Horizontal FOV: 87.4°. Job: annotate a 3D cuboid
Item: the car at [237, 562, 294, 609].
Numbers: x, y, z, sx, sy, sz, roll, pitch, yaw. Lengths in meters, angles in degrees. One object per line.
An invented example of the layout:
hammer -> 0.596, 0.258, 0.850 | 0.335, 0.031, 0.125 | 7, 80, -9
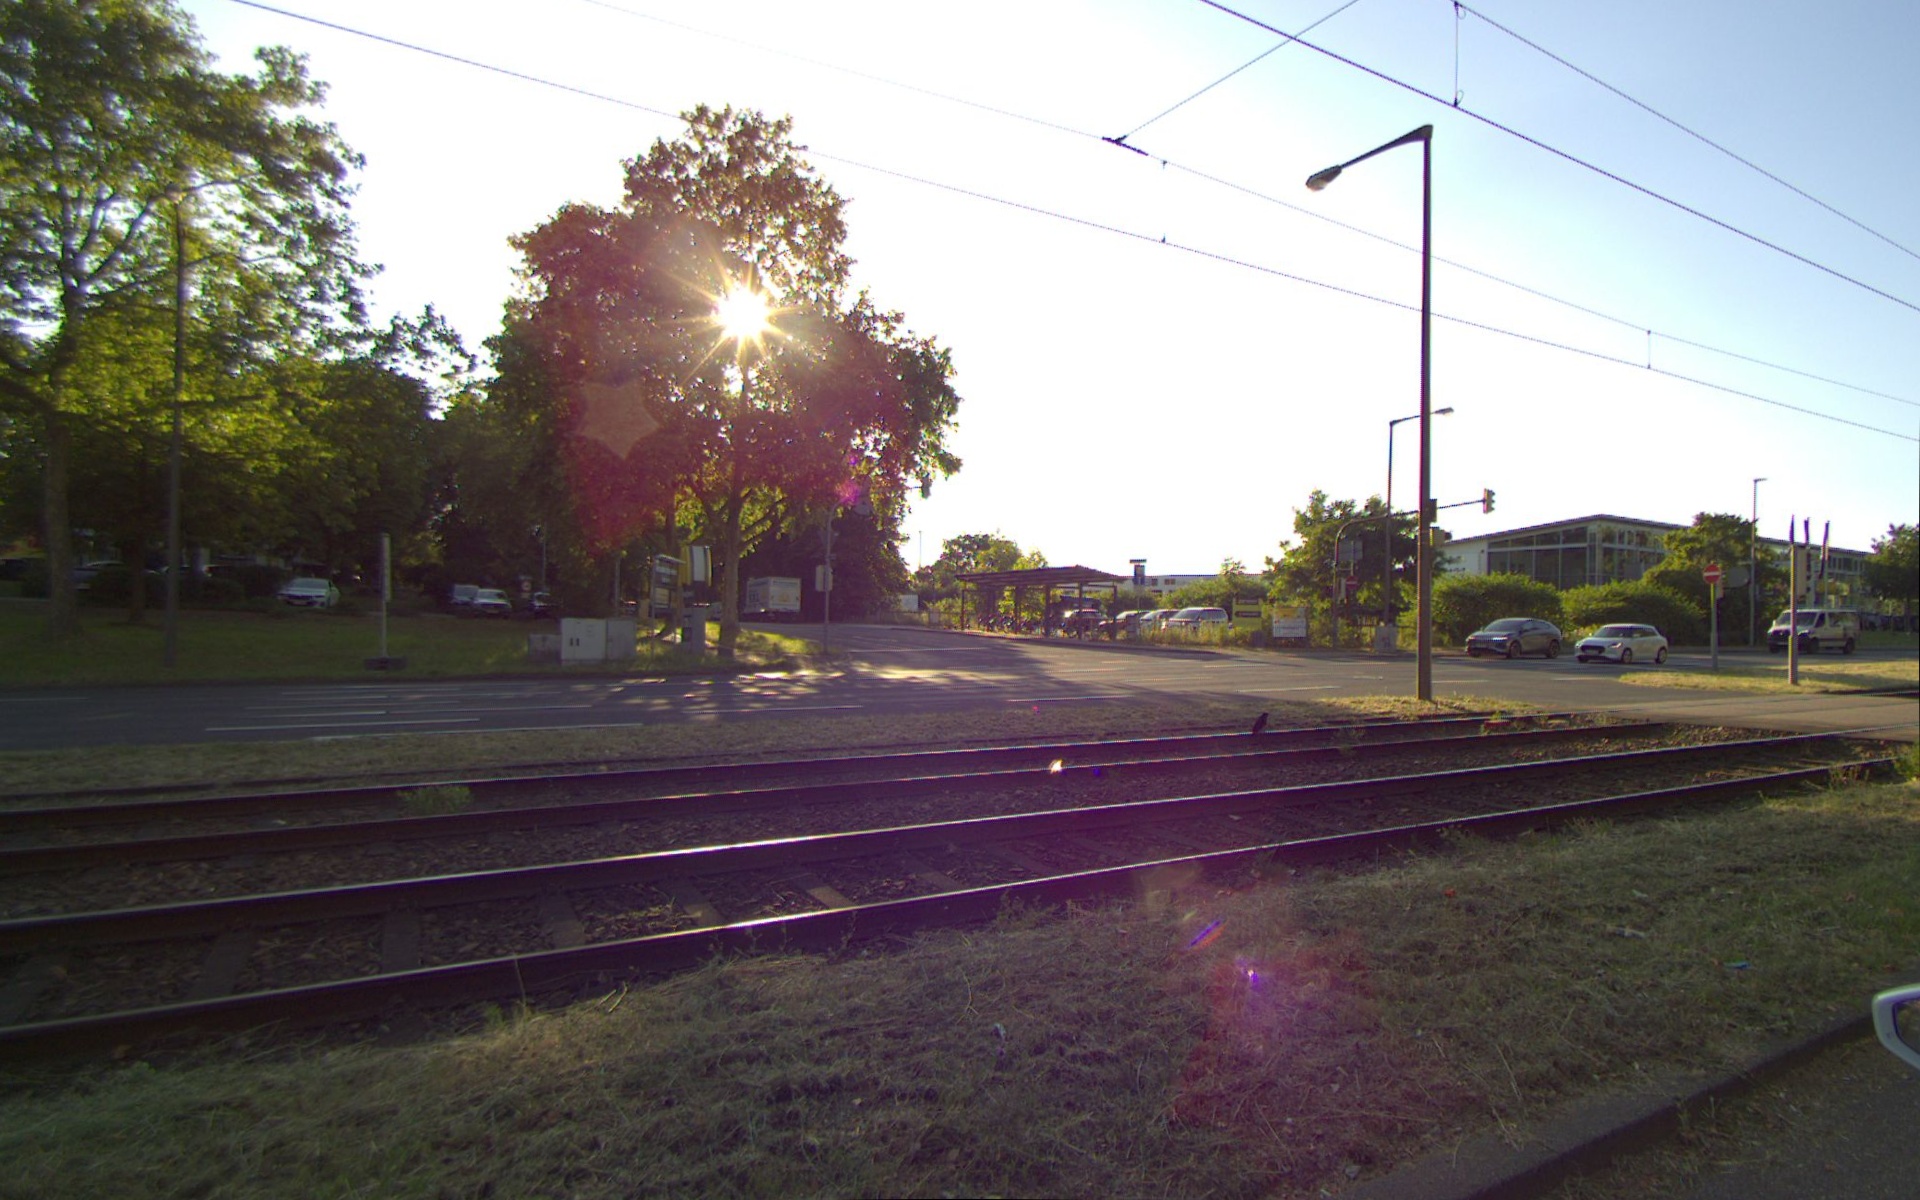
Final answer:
car -> -37.296, -0.751, 54.006 | 2.138, 2.334, 4.369 | 2, 0, -31

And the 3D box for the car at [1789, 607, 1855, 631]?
car -> 69.327, 1.504, 80.824 | 3.940, 1.840, 1.735 | 1, 0, 40

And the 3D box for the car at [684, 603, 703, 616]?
car -> -33.311, 1.171, 125.409 | 1.887, 1.602, 4.036 | 2, 0, -21

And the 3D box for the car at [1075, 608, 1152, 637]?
car -> 8.821, 1.280, 57.797 | 4.123, 1.604, 1.853 | 1, 0, -30

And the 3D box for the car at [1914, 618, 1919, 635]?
car -> 91.300, 2.498, 93.017 | 1.725, 1.642, 3.962 | 1, 0, -34

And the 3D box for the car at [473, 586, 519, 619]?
car -> -22.934, 0.110, 49.587 | 1.916, 1.530, 4.071 | 2, 0, -26

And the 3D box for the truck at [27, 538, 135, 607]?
truck -> -44.512, -1.341, 51.064 | 2.468, 3.209, 6.187 | 2, 0, -26

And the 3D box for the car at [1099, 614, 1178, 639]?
car -> 9.940, 1.483, 55.865 | 4.123, 1.284, 1.853 | 1, 0, -30

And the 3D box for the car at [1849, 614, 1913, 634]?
car -> 79.616, 2.061, 86.888 | 3.940, 1.577, 1.735 | 1, 0, 40

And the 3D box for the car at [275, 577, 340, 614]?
car -> -29.432, -0.220, 45.437 | 1.916, 1.530, 4.071 | 2, 0, -26

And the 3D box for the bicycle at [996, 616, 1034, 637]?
bicycle -> 3.070, 1.471, 56.410 | 2.004, 1.119, 0.777 | 2, 0, -30

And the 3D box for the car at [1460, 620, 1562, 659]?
car -> 23.211, 1.635, 42.324 | 4.120, 1.501, 1.854 | 1, 0, -29

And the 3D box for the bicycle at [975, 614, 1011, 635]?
bicycle -> 1.929, 1.448, 59.047 | 2.004, 1.119, 0.777 | 2, 0, -30

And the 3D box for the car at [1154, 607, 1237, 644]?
car -> 12.363, 1.323, 52.733 | 4.123, 1.846, 1.853 | 1, 0, -30

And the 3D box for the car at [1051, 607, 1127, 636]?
car -> 7.717, 1.287, 59.991 | 4.123, 1.604, 1.968 | 1, 0, -30

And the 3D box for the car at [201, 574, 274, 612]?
car -> -32.113, -0.320, 44.755 | 1.916, 1.530, 4.071 | 2, 0, -26

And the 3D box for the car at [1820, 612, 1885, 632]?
car -> 74.210, 1.839, 83.607 | 3.940, 1.577, 1.735 | 1, 0, 40

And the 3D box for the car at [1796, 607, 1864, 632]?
car -> 68.365, 1.487, 78.979 | 3.940, 1.840, 1.735 | 1, 0, 40

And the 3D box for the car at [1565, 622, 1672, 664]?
car -> 25.529, 1.623, 38.934 | 4.043, 1.501, 1.853 | 1, 0, -30

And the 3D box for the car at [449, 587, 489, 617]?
car -> -28.572, 0.126, 58.493 | 1.836, 1.637, 4.036 | 2, 0, -23

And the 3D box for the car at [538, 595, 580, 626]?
car -> -20.439, 0.522, 51.136 | 1.604, 1.477, 3.878 | 2, 0, -27

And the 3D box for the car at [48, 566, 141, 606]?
car -> -36.087, -0.555, 42.019 | 1.916, 1.530, 4.071 | 2, 0, -26

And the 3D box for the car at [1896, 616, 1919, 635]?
car -> 88.384, 2.382, 91.738 | 1.725, 1.642, 3.962 | 1, 0, -34

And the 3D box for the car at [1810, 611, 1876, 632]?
car -> 71.991, 1.743, 81.940 | 3.940, 1.577, 1.735 | 1, 0, 40

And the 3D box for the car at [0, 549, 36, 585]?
car -> -53.859, -1.881, 56.381 | 2.274, 1.875, 5.220 | 2, 0, -36

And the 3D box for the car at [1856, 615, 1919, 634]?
car -> 81.768, 2.149, 88.506 | 1.728, 1.576, 3.957 | 1, 0, -37

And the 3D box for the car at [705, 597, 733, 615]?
car -> -22.796, 0.559, 95.017 | 1.711, 1.603, 4.028 | 1, 0, -27

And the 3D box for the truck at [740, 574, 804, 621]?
truck -> -15.046, -0.236, 79.788 | 2.782, 3.520, 8.291 | 1, 0, -27

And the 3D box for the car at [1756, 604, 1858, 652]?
car -> 46.741, 1.538, 55.389 | 5.773, 2.494, 2.089 | 1, 0, -25

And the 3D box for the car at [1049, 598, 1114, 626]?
car -> 9.289, 0.931, 76.662 | 4.715, 2.041, 1.853 | 1, 0, -30

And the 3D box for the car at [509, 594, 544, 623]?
car -> -26.211, 0.503, 60.708 | 1.836, 1.637, 4.036 | 2, 0, -23

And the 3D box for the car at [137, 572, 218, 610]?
car -> -33.955, -0.393, 43.682 | 1.916, 1.530, 4.071 | 2, 0, -26
